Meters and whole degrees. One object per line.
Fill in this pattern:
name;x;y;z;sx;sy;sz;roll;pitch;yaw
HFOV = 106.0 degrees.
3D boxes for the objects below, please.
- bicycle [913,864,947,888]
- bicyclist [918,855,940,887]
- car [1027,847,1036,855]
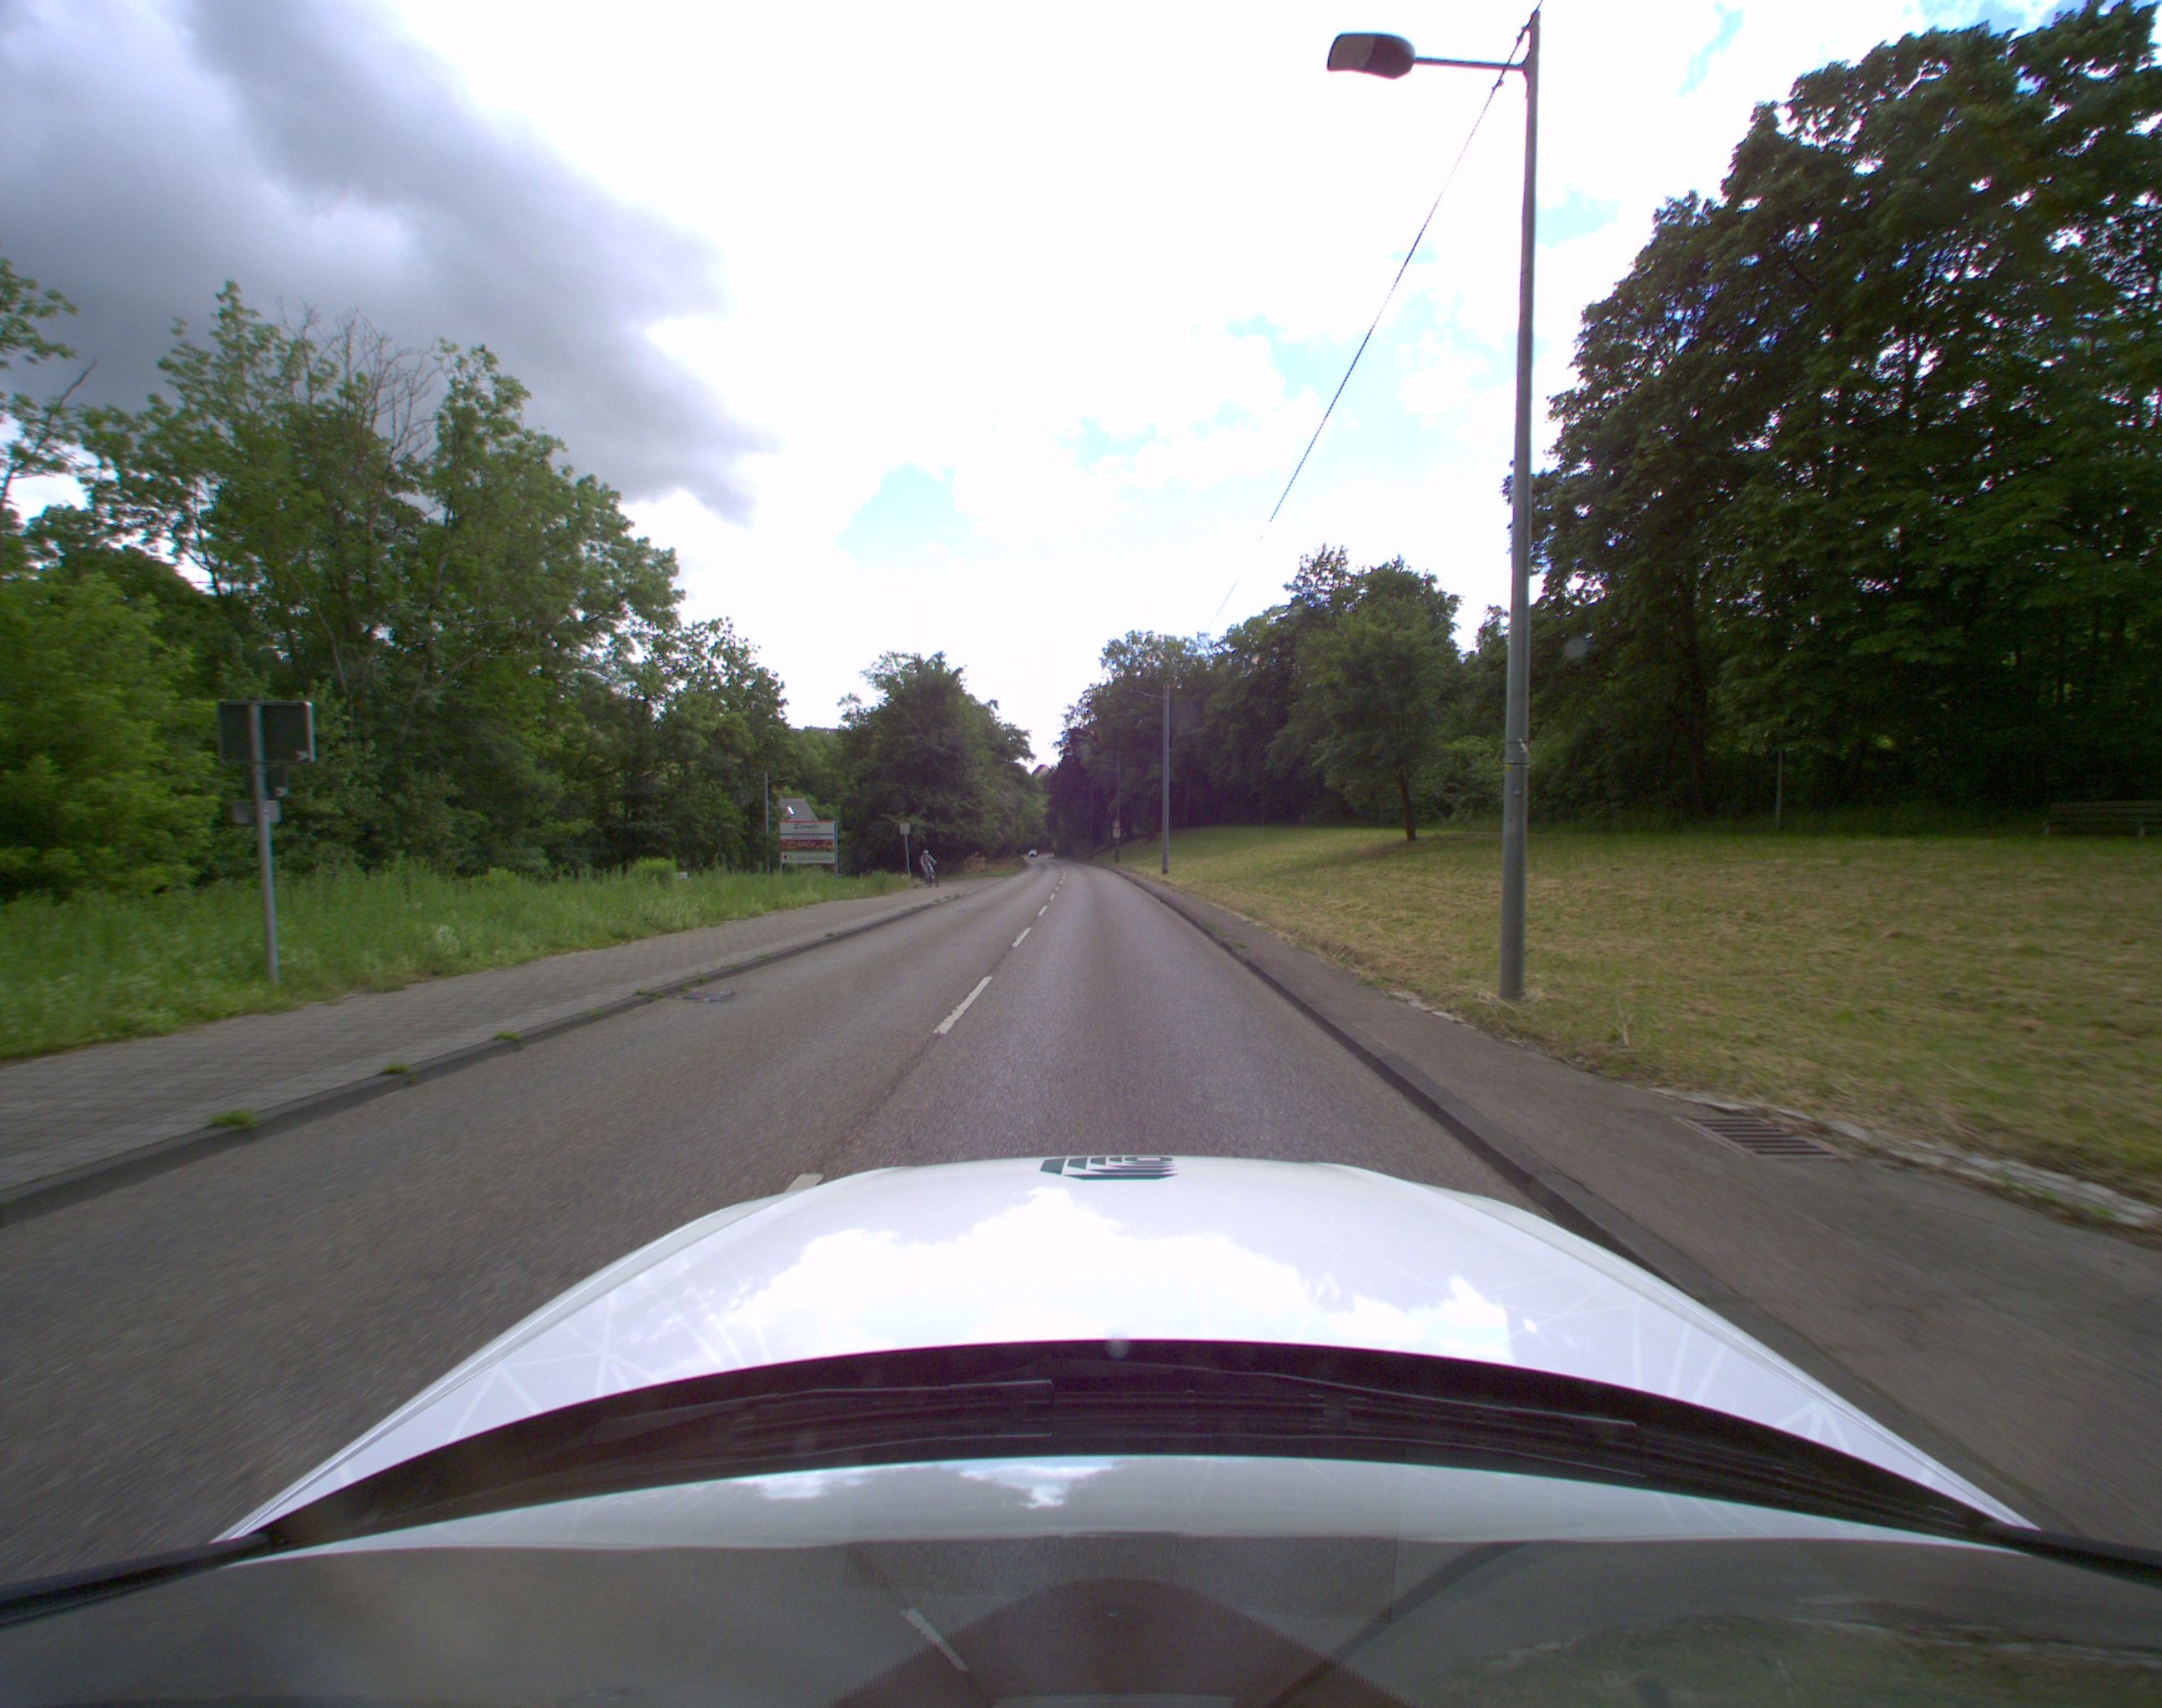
bicycle;-6.813;0.968;36.700;0.833;1.036;2.421;1;0;-27
bicyclist;-6.850;0.769;36.701;0.831;1.427;0.774;0;-1;-27
car;-13.223;-0.695;217.674;1.986;2.014;4.000;1;0;1
